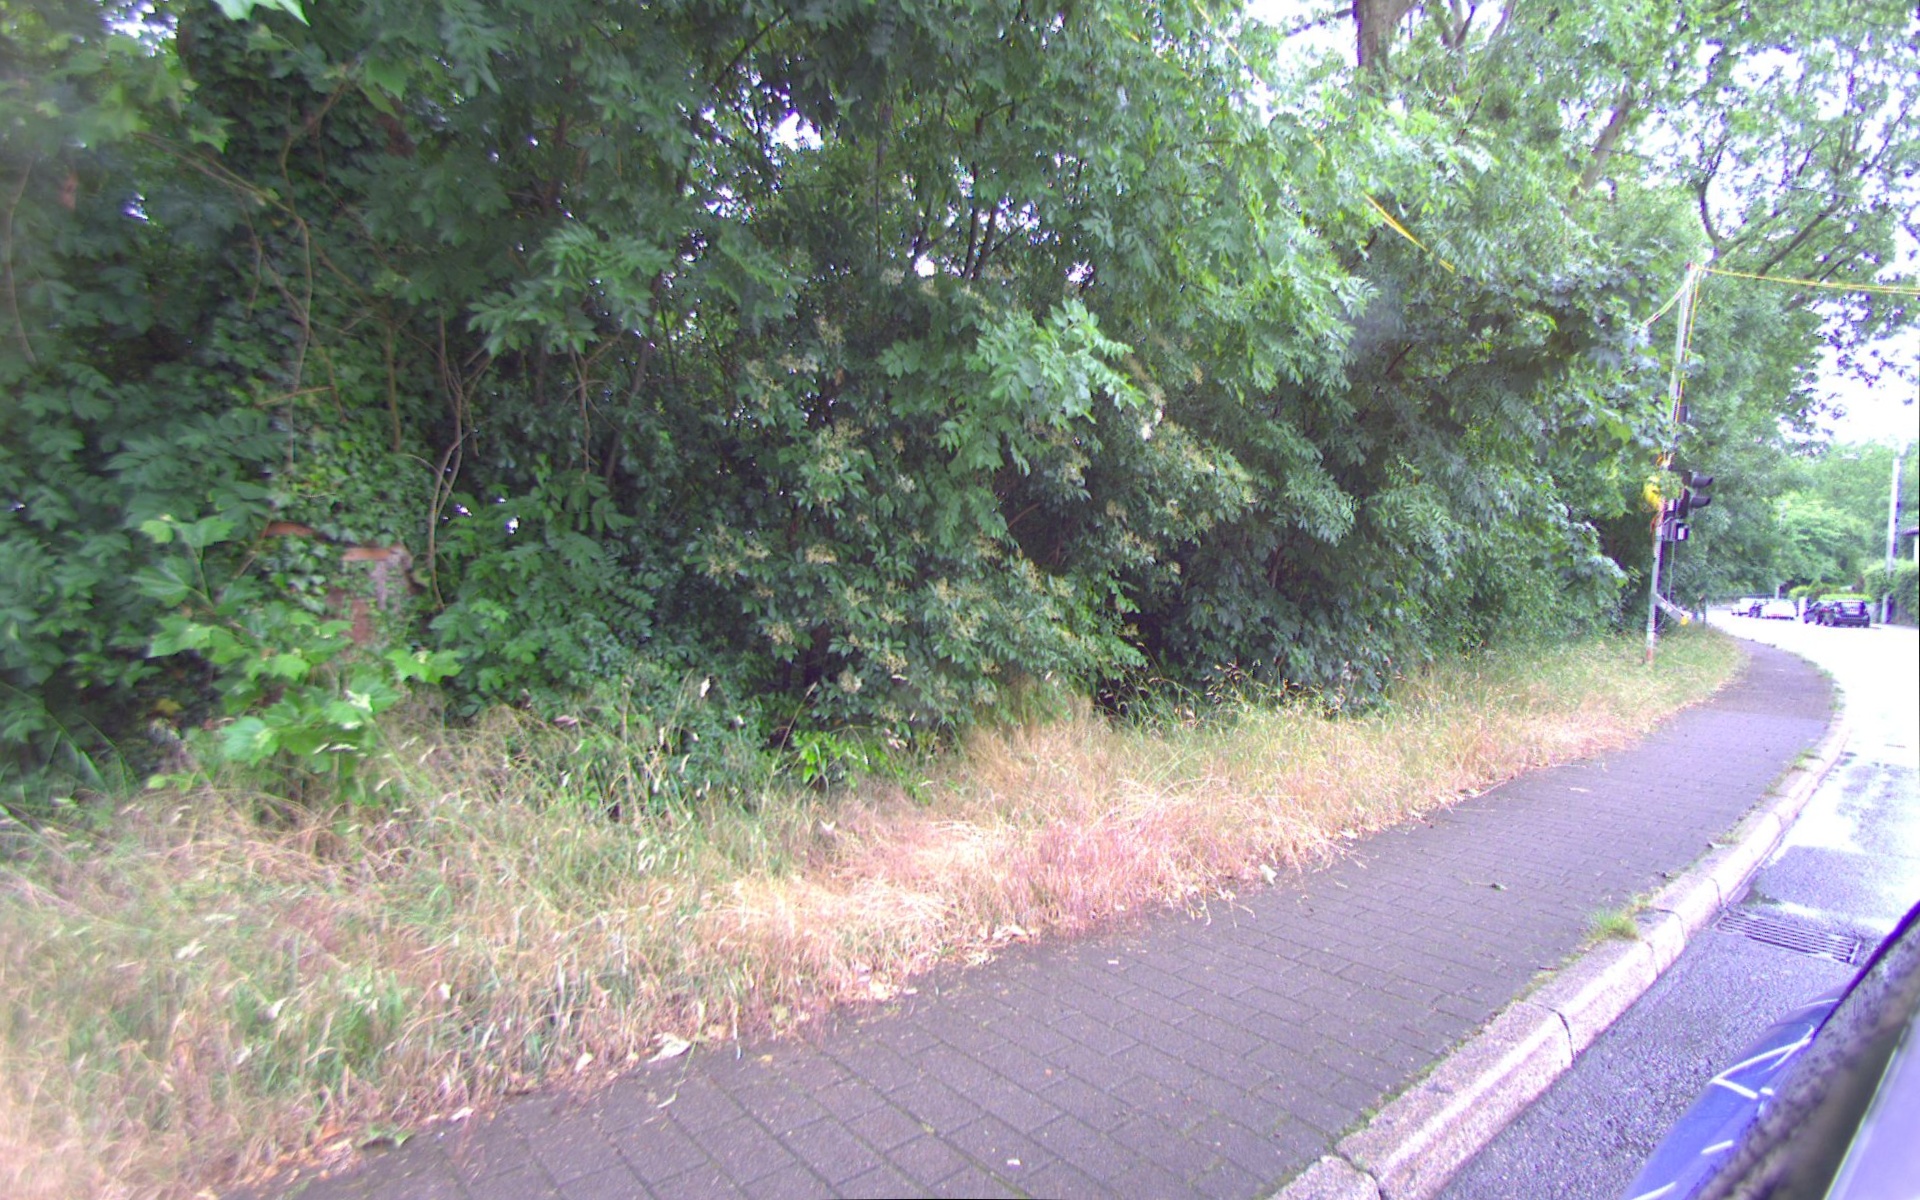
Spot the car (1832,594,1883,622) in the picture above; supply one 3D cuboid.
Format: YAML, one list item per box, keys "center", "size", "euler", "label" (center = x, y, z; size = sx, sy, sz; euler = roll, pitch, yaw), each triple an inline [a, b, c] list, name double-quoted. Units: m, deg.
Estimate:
- center: [50.807, 0.449, 57.345]
  size: [1.512, 1.472, 2.996]
  euler: [4, 2, 31]
  label: "car"

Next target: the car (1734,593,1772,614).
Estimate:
- center: [64.852, 0.243, 82.770]
  size: [1.723, 1.439, 4.241]
  euler: [-3, 1, 29]
  label: "car"

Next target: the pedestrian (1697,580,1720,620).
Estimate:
- center: [31.476, -0.006, 42.561]
  size: [0.638, 1.631, 0.663]
  euler: [2, 2, 30]
  label: "pedestrian"

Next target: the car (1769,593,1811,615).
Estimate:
- center: [60.422, 0.276, 73.727]
  size: [1.688, 1.486, 3.674]
  euler: [2, 1, 29]
  label: "car"

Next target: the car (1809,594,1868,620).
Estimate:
- center: [52.856, 0.403, 60.942]
  size: [1.678, 1.435, 4.175]
  euler: [3, 2, 27]
  label: "car"
